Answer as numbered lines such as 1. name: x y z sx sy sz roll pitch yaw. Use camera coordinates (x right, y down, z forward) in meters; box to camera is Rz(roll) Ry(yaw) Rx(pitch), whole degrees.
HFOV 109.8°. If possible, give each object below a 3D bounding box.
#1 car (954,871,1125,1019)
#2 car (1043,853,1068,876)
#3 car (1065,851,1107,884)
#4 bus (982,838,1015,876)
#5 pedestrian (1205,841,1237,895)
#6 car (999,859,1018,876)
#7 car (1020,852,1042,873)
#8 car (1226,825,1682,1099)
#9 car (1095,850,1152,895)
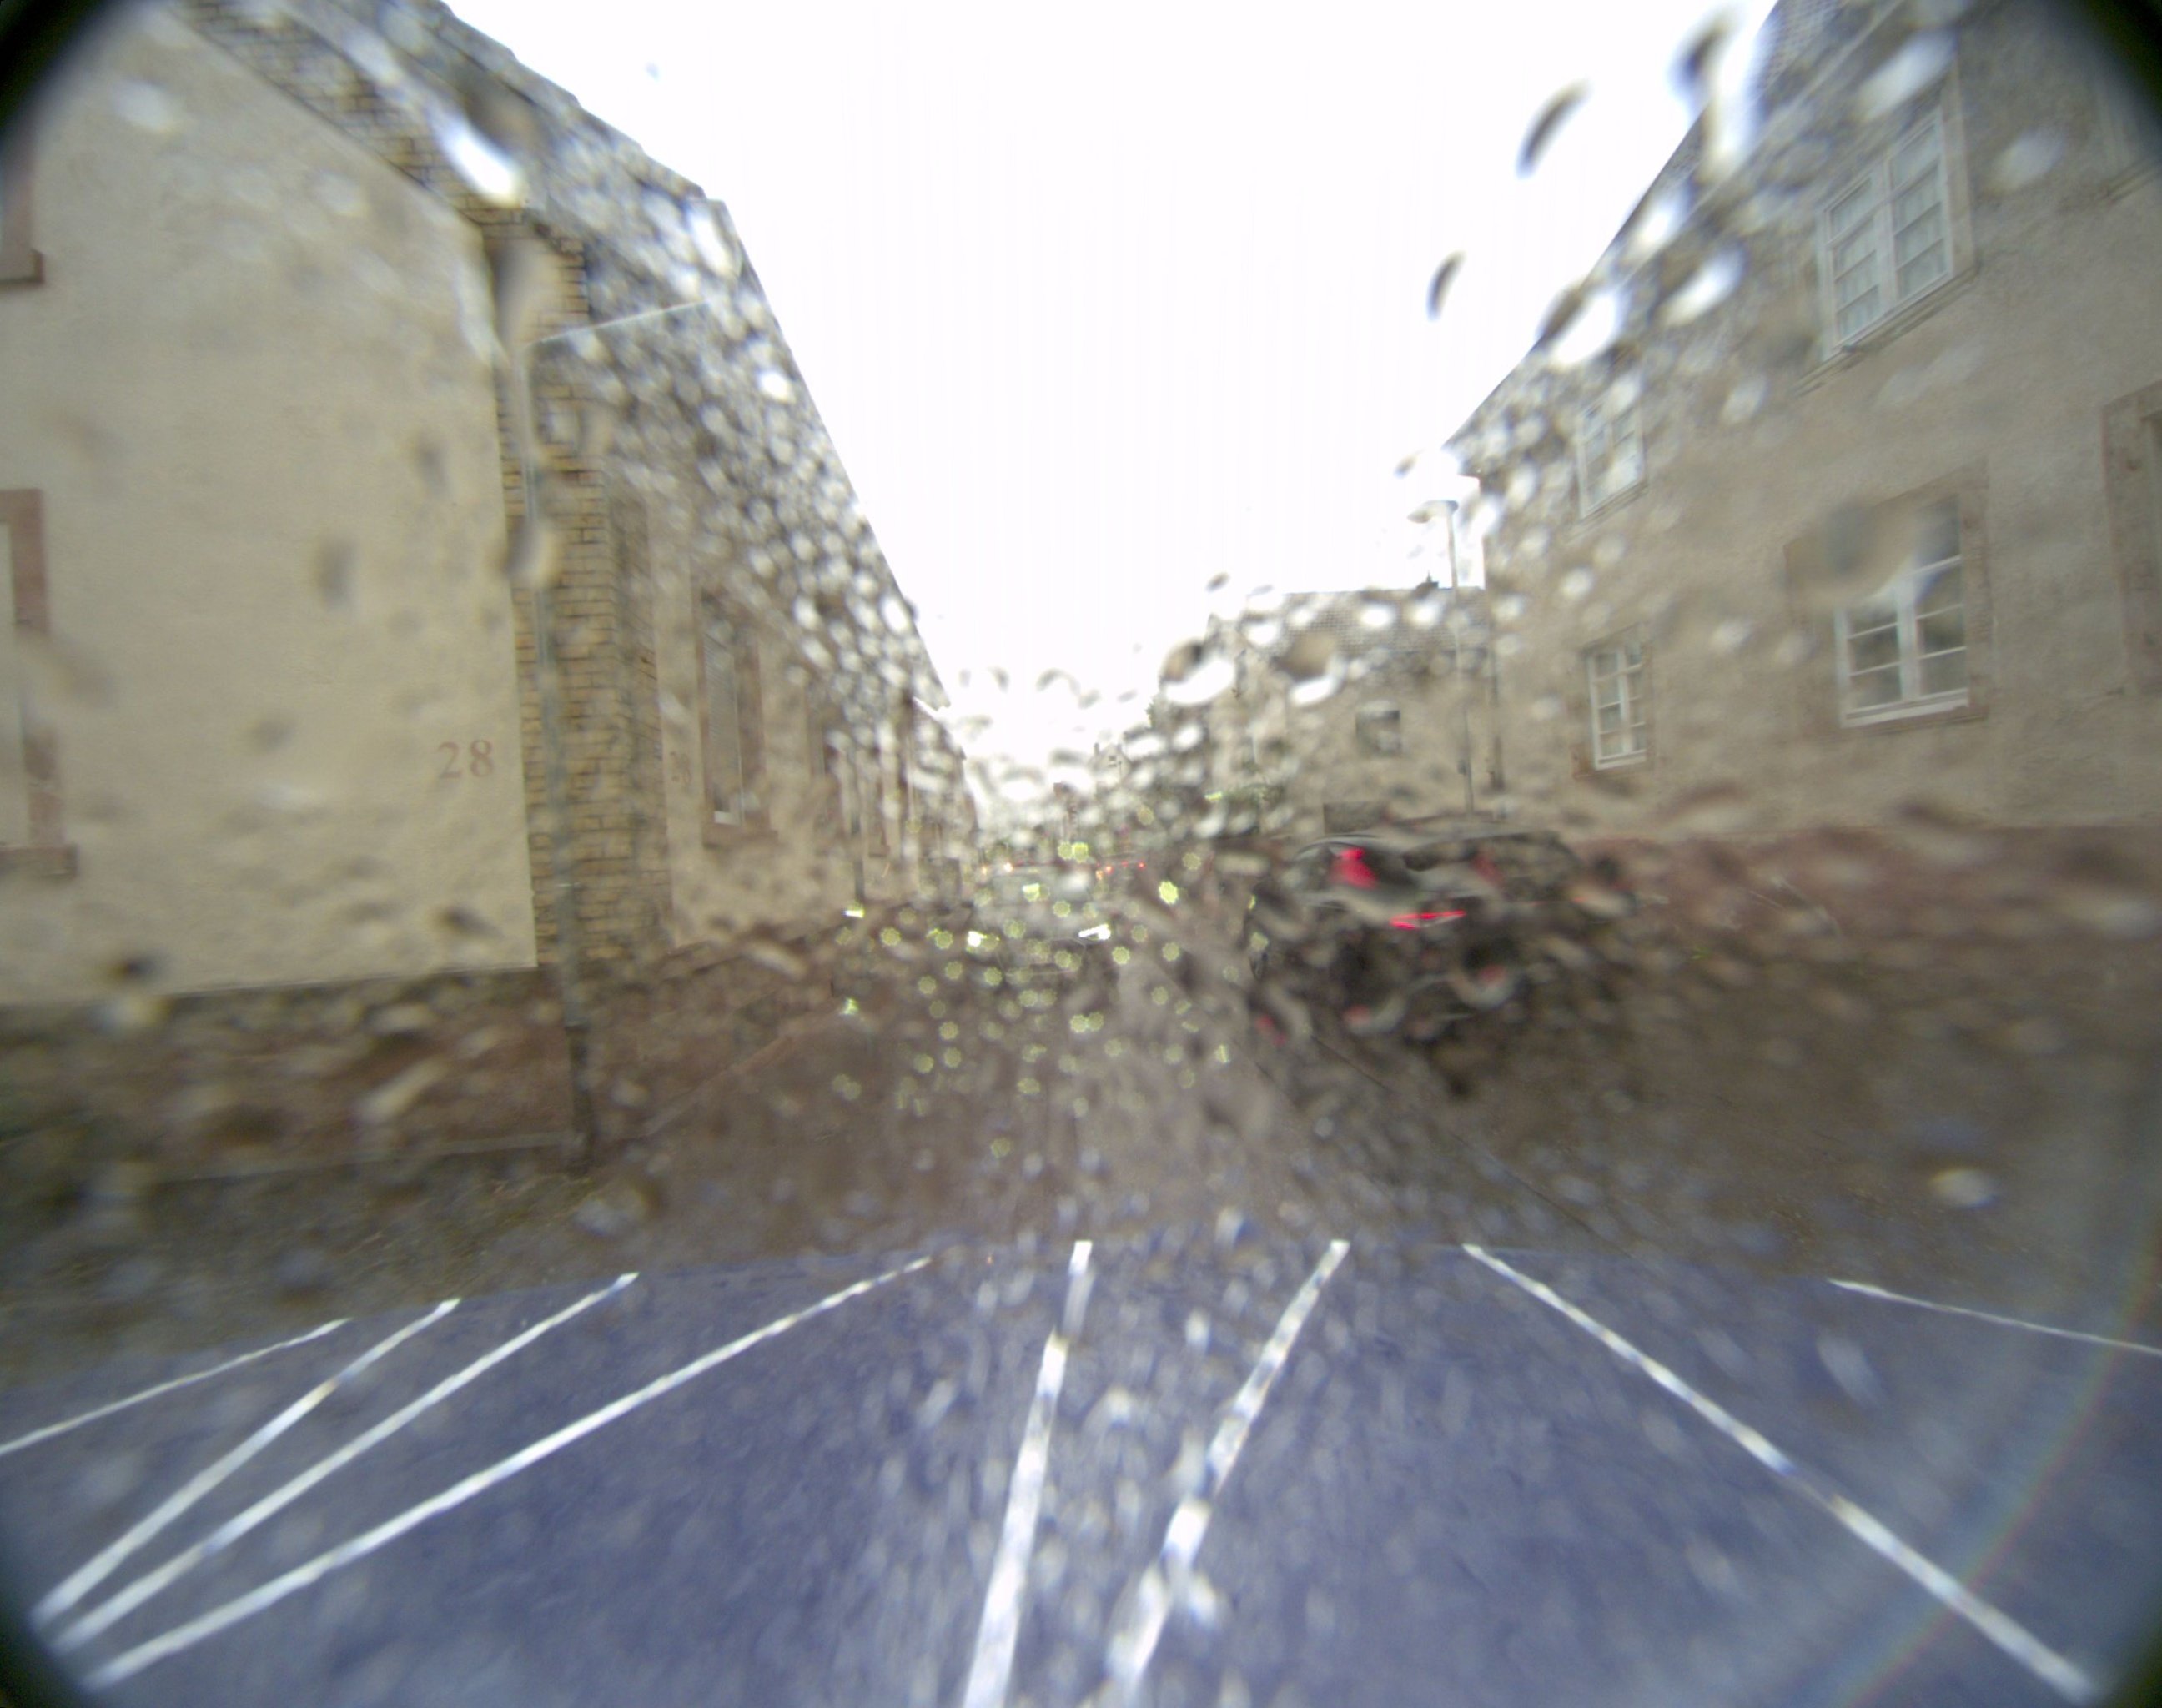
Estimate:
1. car: -0.601 0.996 10.029 1.740 1.363 4.100 -3 0 -5
2. car: -1.986 0.752 58.092 1.627 1.502 3.791 -7 1 -3
3. car: 0.204 0.643 39.218 1.701 1.500 4.339 -3 1 -5
4. bus: -8.012 0.218 72.881 2.669 3.213 12.182 -3 1 -8
5. pedestrian: 4.146 0.416 22.492 0.573 1.529 0.832 -6 1 -8
6. car: -9.013 1.622 94.116 2.000 2.002 3.997 -3 1 -9
7. car: -4.641 0.785 69.925 1.785 1.655 4.423 -5 1 -4
8. car: 2.765 0.661 6.894 1.837 1.546 4.238 -6 1 -2
9. car: 1.551 0.648 28.892 1.609 1.504 3.686 -4 1 -4
